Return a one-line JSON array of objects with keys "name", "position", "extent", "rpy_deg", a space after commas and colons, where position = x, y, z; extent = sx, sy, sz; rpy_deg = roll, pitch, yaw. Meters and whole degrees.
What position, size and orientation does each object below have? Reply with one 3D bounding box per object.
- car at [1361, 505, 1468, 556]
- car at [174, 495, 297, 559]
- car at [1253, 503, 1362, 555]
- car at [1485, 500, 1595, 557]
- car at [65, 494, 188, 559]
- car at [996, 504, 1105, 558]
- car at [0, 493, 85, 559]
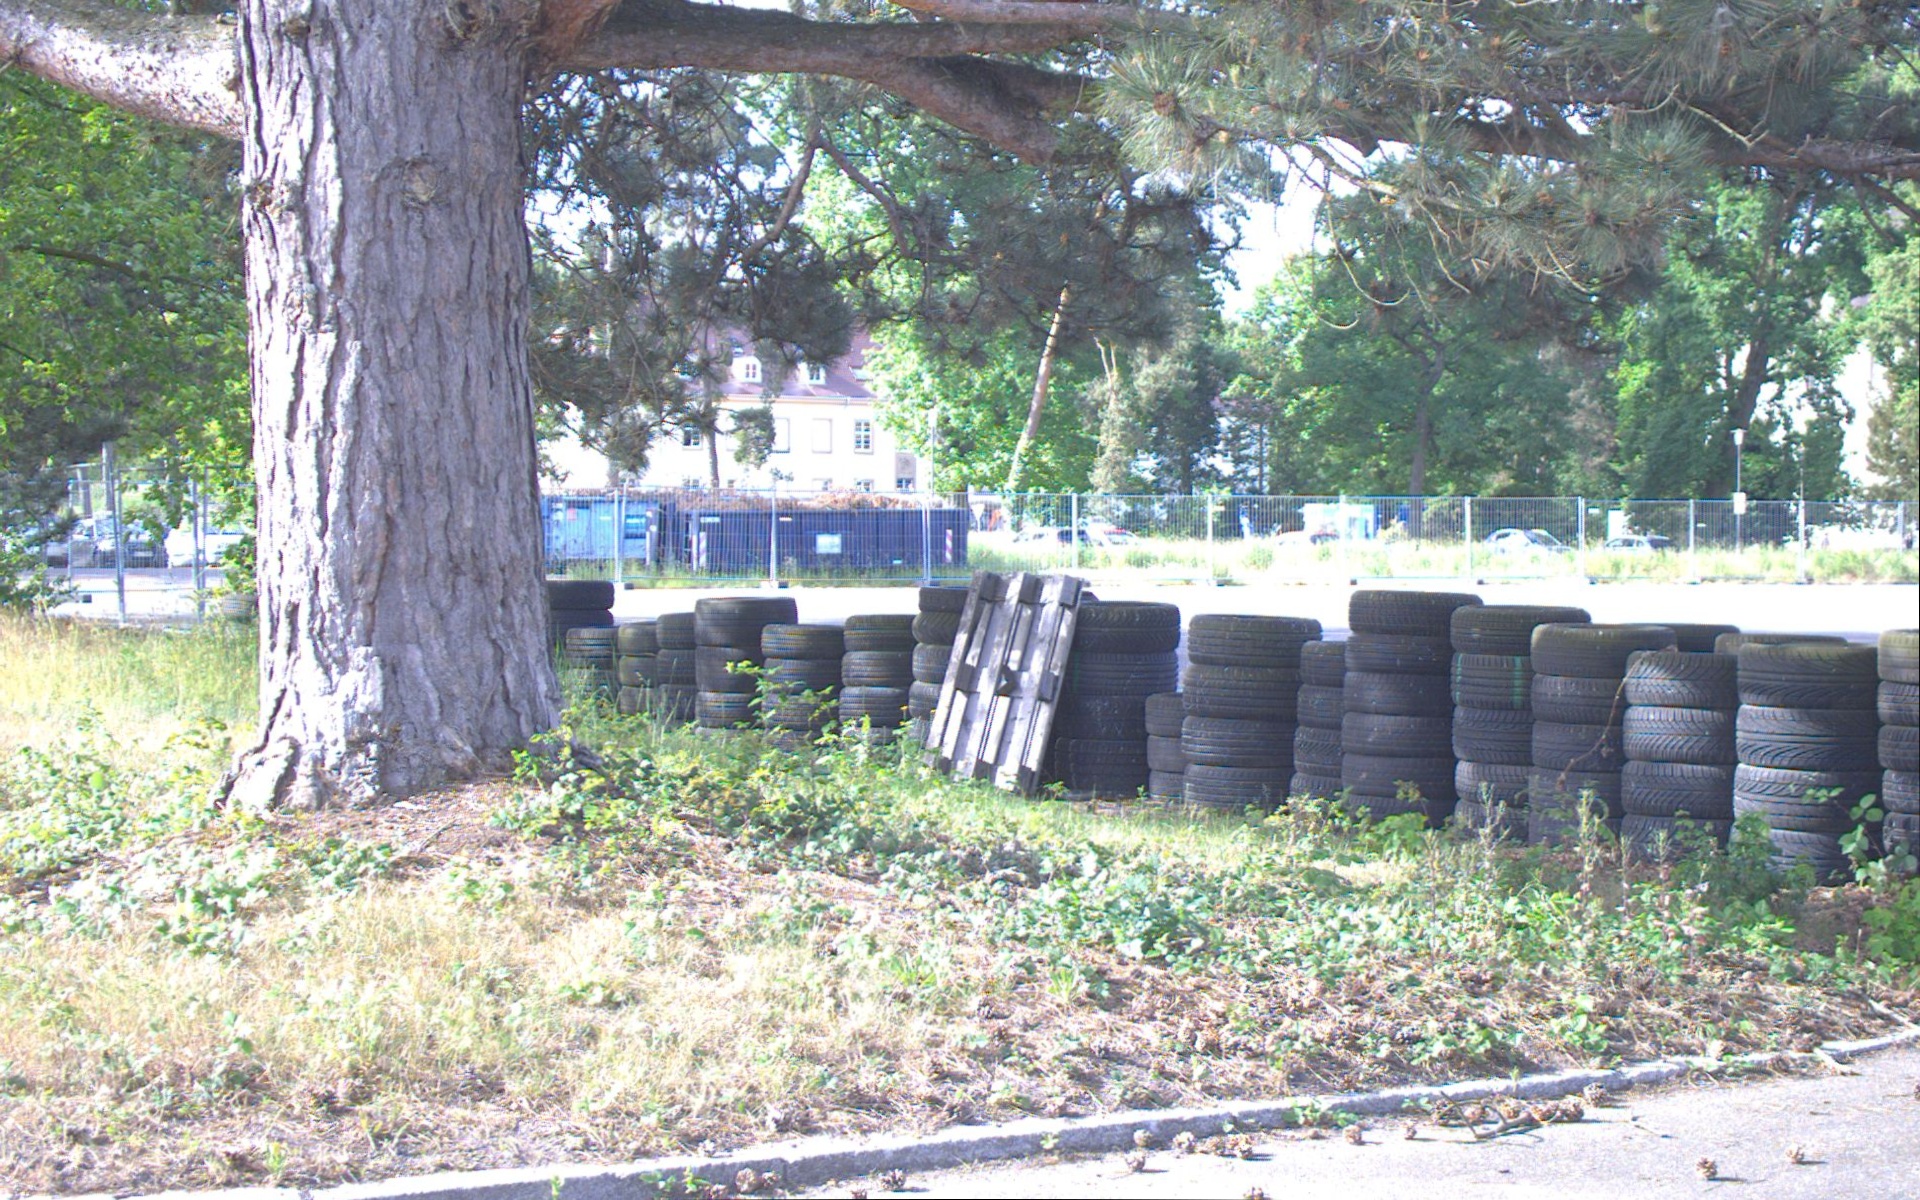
[{"name": "car", "position": [15.996, -2.472, 121.202], "extent": [1.993, 1.744, 4.001], "rpy_deg": [0, 2, -23]}, {"name": "car", "position": [-18.732, -1.908, 88.791], "extent": [1.993, 1.612, 4.000], "rpy_deg": [0, 2, -30]}, {"name": "car", "position": [11.982, -2.458, 118.731], "extent": [1.993, 1.744, 4.001], "rpy_deg": [0, 2, -24]}, {"name": "car", "position": [20.869, -2.573, 123.873], "extent": [1.993, 2.007, 4.001], "rpy_deg": [0, 1, -24]}, {"name": "car", "position": [-21.125, -1.878, 87.067], "extent": [1.993, 1.612, 4.000], "rpy_deg": [0, 2, -30]}, {"name": "car", "position": [2.971, -2.290, 113.818], "extent": [1.993, 1.744, 4.001], "rpy_deg": [0, 2, -25]}, {"name": "car", "position": [-23.179, -1.851, 85.558], "extent": [1.821, 1.612, 4.001], "rpy_deg": [0, 2, -28]}]
